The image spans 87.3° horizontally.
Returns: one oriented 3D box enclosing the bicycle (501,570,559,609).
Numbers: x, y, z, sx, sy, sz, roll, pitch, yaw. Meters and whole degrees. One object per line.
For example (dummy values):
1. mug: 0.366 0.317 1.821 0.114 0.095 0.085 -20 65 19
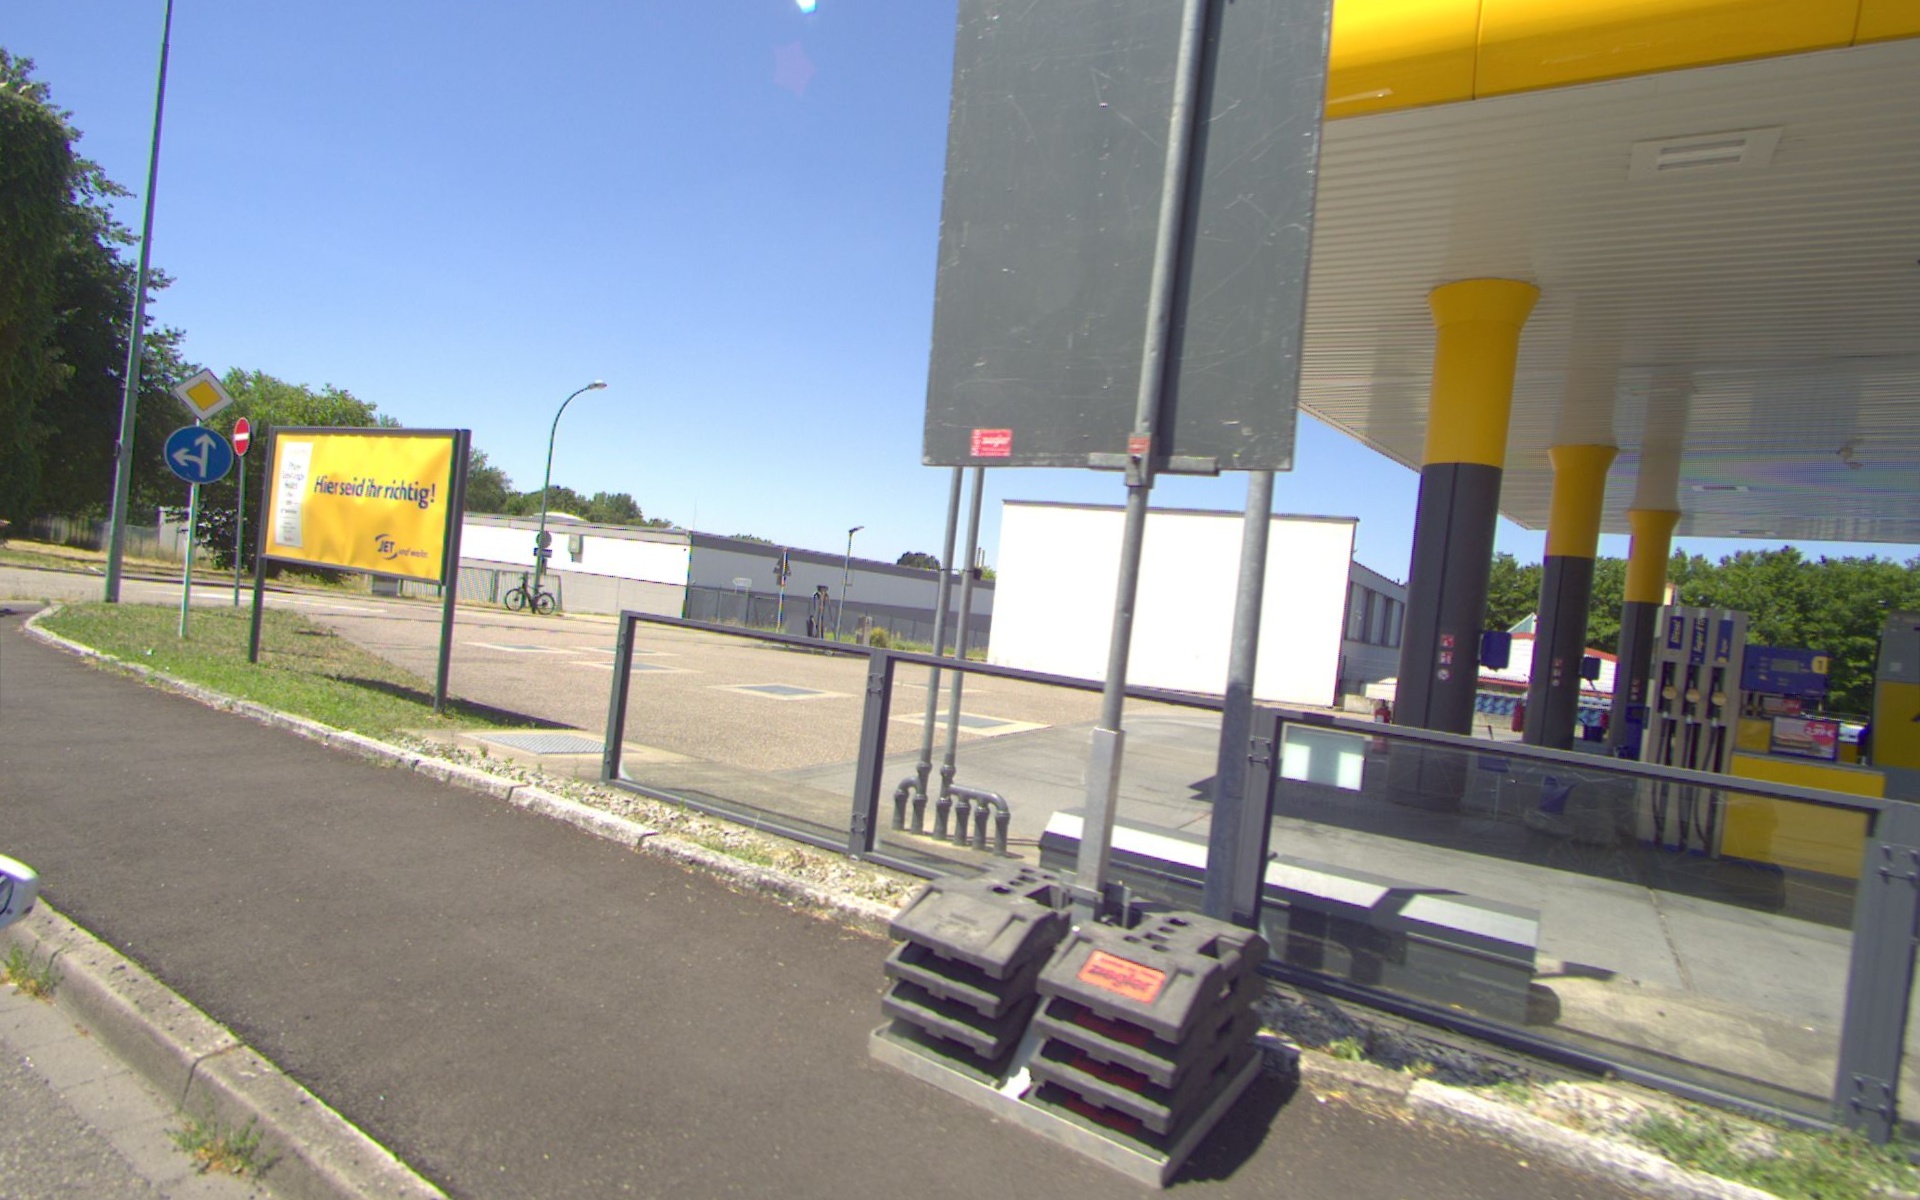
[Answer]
1. bicycle: -14.359 -0.352 33.633 0.460 1.111 1.694 6 -1 36
